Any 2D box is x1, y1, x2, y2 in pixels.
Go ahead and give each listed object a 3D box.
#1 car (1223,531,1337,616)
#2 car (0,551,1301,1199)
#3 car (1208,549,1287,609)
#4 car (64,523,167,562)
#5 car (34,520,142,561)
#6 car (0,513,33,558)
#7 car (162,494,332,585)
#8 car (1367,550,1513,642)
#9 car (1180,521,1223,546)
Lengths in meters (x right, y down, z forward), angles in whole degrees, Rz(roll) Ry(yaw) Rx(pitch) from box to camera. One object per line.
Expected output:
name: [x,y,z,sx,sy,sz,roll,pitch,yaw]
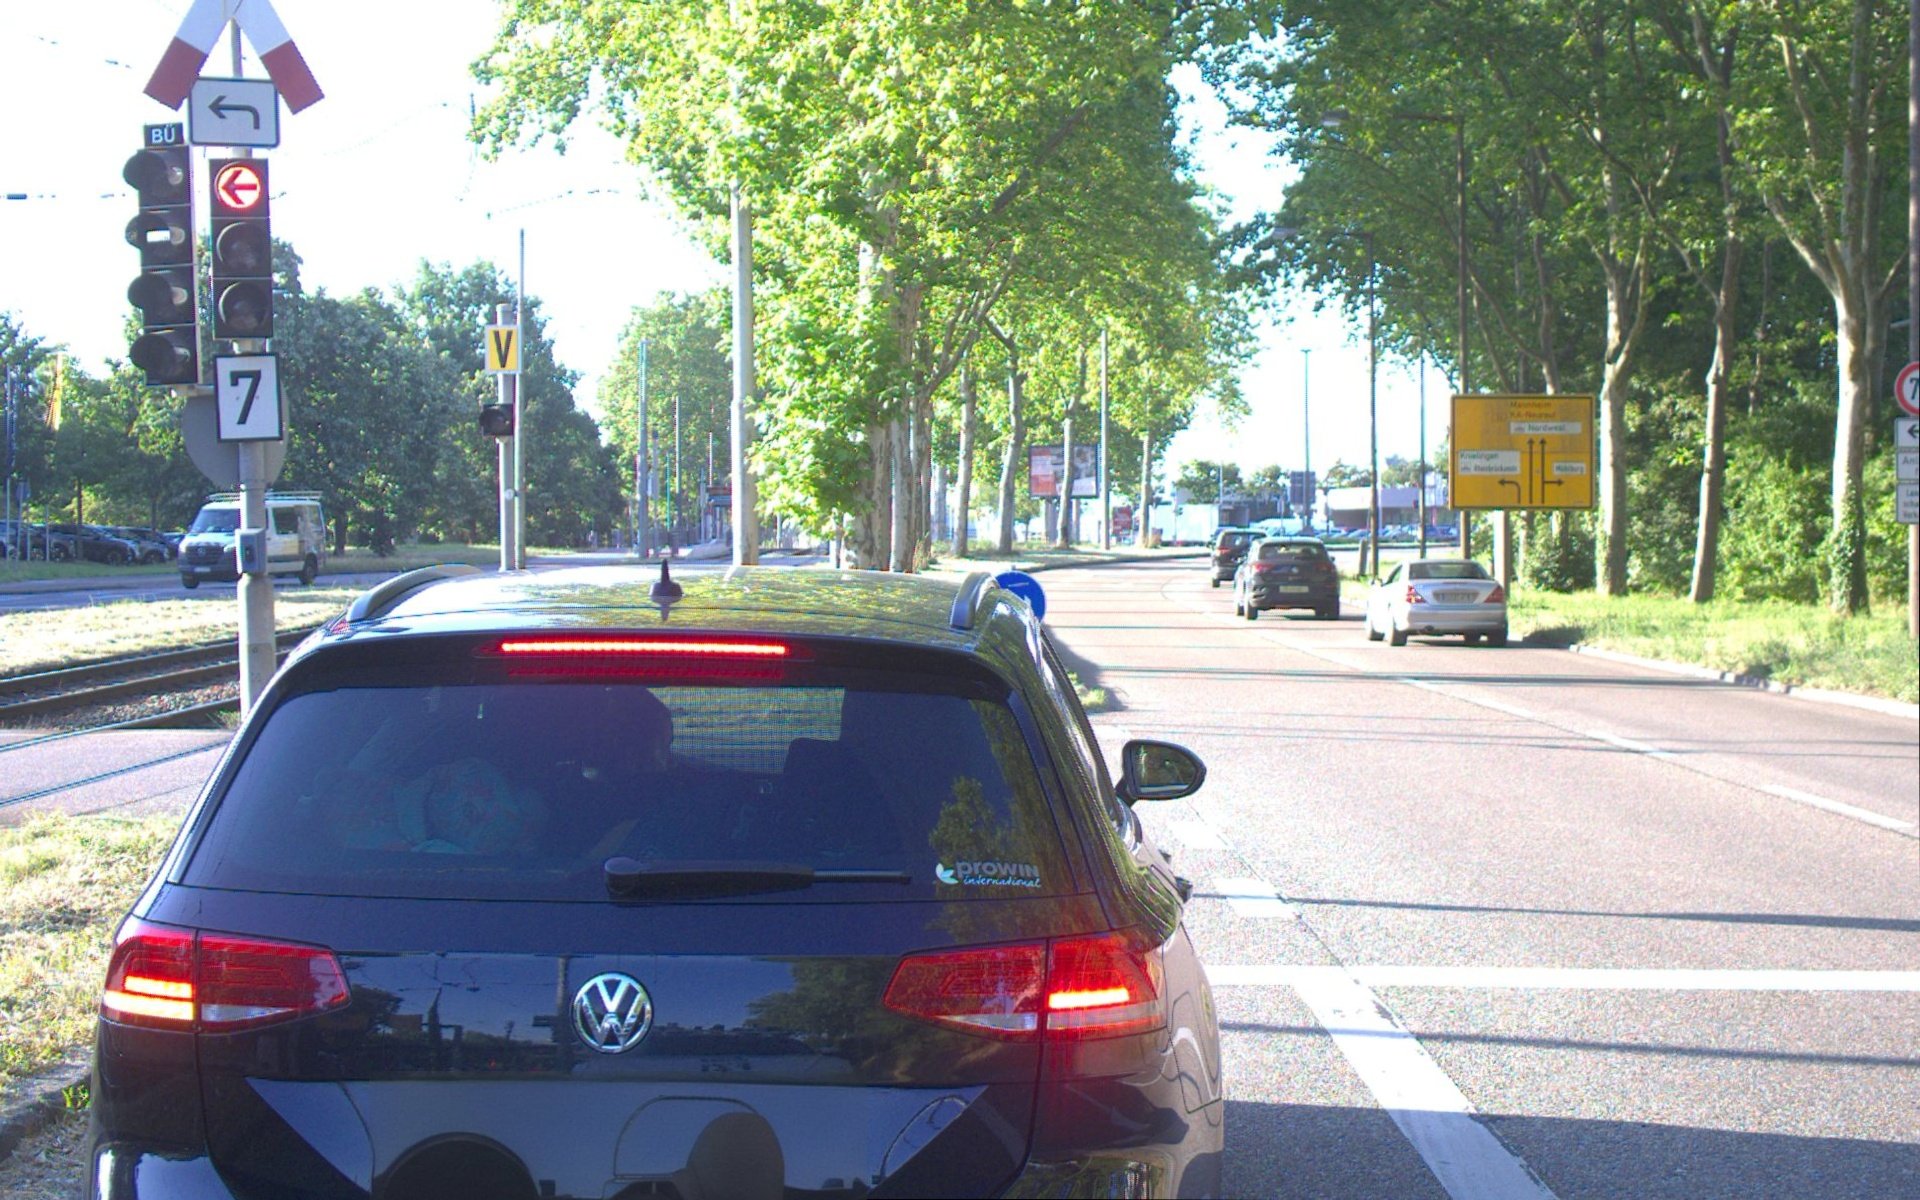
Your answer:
car: [6.079,-0.528,65.655,1.707,1.555,4.166,0,1,-1]
car: [-0.480,0.657,6.412,1.795,1.459,3.583,1,1,-1]
car: [8.030,-0.600,96.221,1.872,1.629,4.370,0,1,1]
car: [-35.825,-2.451,145.908,3.986,1.615,1.744,1,1,-5]
car: [-35.166,-2.409,138.752,3.986,1.615,1.744,1,1,-5]
car: [-35.917,-2.359,125.003,3.986,1.615,1.744,1,1,-5]
car: [-20.017,-1.703,96.804,2.097,2.453,5.848,1,1,17]
car: [7.154,-0.083,51.556,1.609,1.290,3.983,1,1,0]
car: [14.090,-3.874,200.739,1.993,1.415,4.001,1,1,-3]
